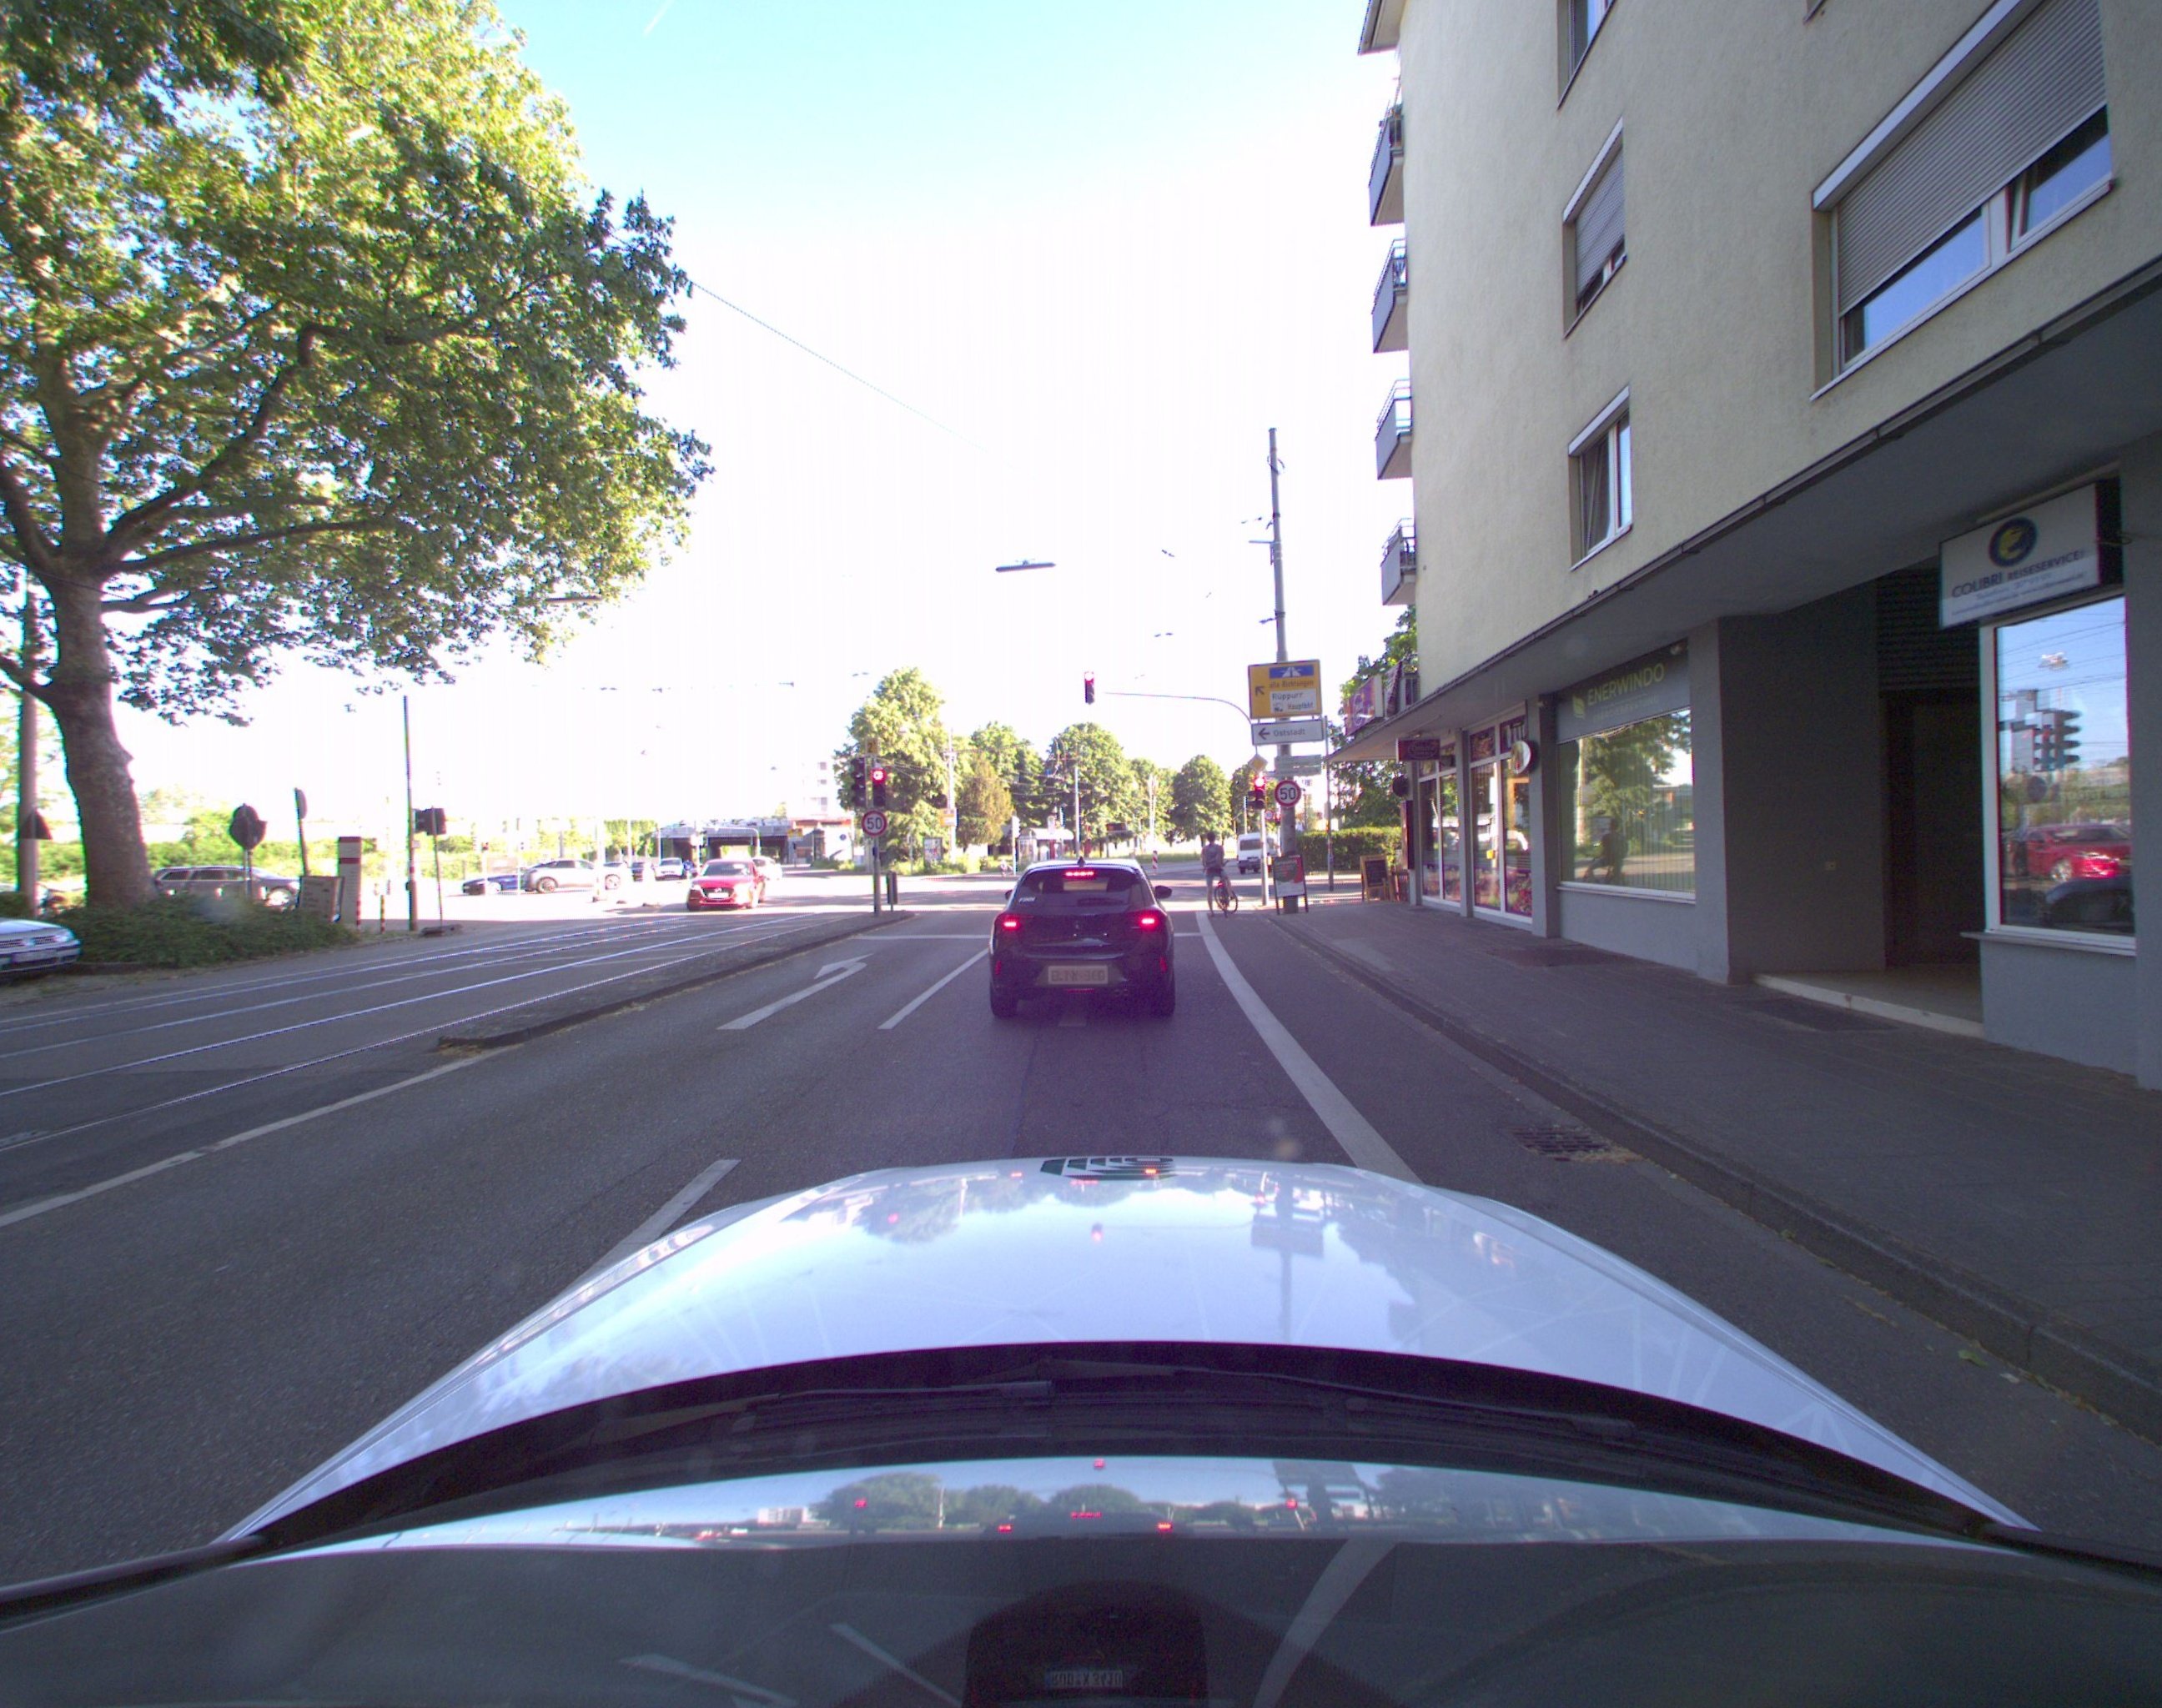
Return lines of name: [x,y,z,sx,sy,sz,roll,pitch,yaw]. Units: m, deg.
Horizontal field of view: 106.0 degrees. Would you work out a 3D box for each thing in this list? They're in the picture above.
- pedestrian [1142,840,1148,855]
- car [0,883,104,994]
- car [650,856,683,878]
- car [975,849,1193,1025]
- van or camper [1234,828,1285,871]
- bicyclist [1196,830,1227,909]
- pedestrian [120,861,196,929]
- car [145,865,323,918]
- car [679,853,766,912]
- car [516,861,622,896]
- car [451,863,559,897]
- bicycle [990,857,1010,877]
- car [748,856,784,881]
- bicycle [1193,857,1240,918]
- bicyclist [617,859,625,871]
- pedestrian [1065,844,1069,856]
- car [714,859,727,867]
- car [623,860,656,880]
pedestrian: [8.059,-0.840,102.380,0.607,1.872,0.514,0,-1,-31]
car: [-16.635,1.193,11.349,3.957,1.453,1.670,-1,0,-1]
car: [-31.544,0.961,62.075,1.892,1.585,3.809,0,-1,-21]
car: [0.087,0.701,8.936,1.833,1.462,3.985,-1,0,2]
van or camper: [10.176,-0.225,46.188,2.011,2.310,4.565,-1,-1,23]
bicyclist: [2.869,0.328,17.845,0.529,1.692,0.571,-2,0,19]
pedestrian: [-23.274,1.015,20.552,0.842,1.647,0.931,0,-1,1]
car: [-34.988,1.485,33.896,4.870,1.881,1.893,-2,0,-39]
car: [-10.754,0.784,24.747,2.023,1.565,4.462,-1,0,-19]
car: [-25.004,1.142,39.841,4.227,1.519,1.783,-2,0,-39]
car: [-30.162,1.335,42.749,1.688,1.555,4.289,-2,0,38]
bicycle: [-4.608,0.736,46.301,0.793,1.064,2.186,-2,0,2]
car: [-20.874,0.950,53.823,2.000,1.552,4.162,0,-1,-25]
bicycle: [3.023,0.713,17.974,0.747,1.235,2.024,-2,0,16]
bicyclist: [-45.064,1.085,79.789,0.528,1.222,0.526,-1,0,-22]
pedestrian: [-2.115,-0.583,124.346,0.602,1.872,0.519,0,-1,-4]
car: [-59.304,1.496,133.928,1.587,1.260,3.397,-2,0,-28]
car: [-36.090,1.270,66.662,1.892,1.585,3.809,0,-1,-21]
